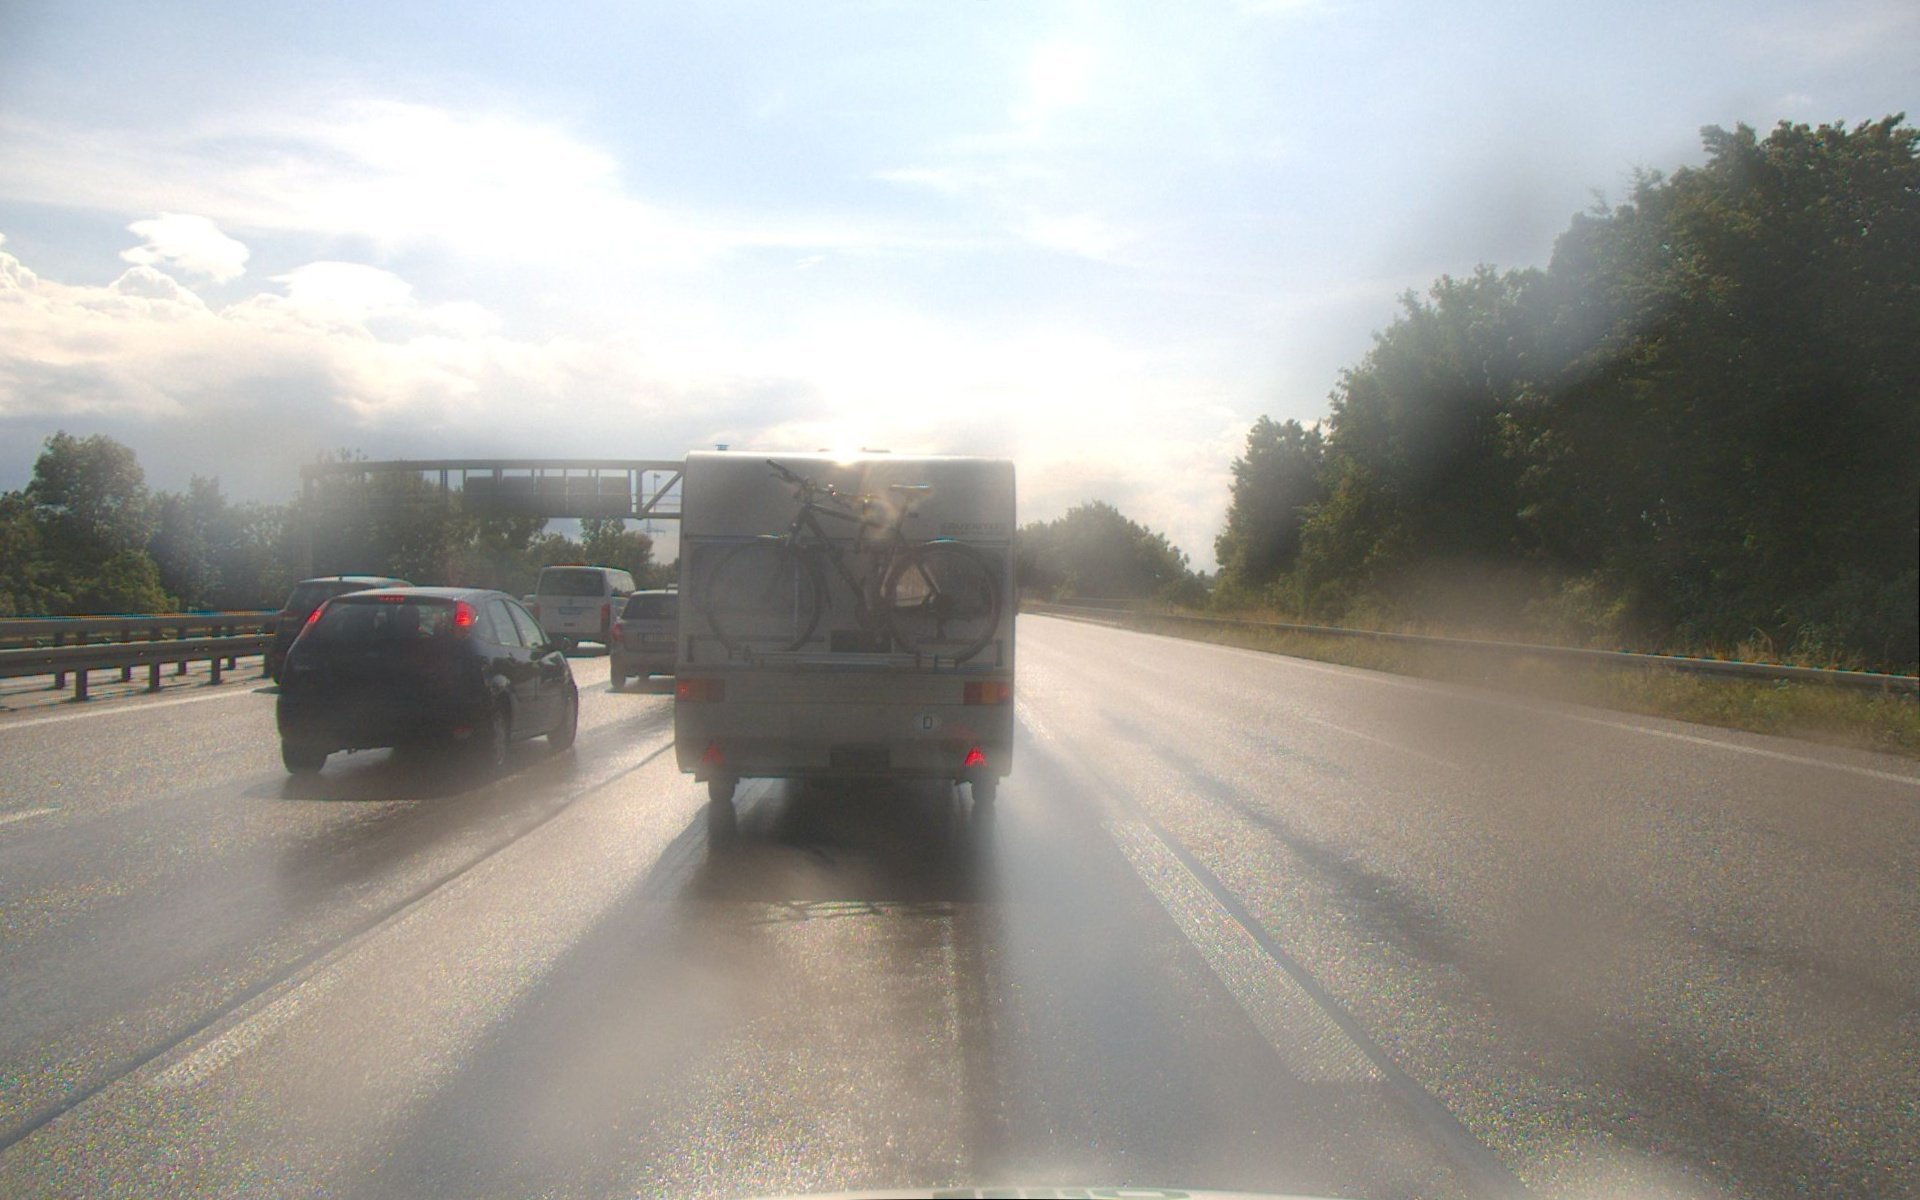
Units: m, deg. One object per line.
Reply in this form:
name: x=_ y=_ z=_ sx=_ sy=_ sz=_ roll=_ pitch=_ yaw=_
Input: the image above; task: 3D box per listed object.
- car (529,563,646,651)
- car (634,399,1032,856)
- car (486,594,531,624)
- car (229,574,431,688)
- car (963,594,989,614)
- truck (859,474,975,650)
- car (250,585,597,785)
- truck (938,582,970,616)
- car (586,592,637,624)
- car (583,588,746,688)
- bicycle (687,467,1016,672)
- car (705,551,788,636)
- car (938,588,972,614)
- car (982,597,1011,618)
car: x=-8.840 y=0.142 z=39.675 sx=1.810 sy=1.967 sz=5.014 roll=1 pitch=0 yaw=-2
car: x=-0.780 y=0.168 z=11.991 sx=2.361 sy=2.721 sz=3.999 roll=1 pitch=0 yaw=-1
car: x=-25.873 y=0.508 z=94.886 sx=1.698 sy=1.679 sz=3.809 roll=1 pitch=0 yaw=-3
car: x=-9.581 y=0.436 z=25.476 sx=1.747 sy=1.606 sz=3.914 roll=1 pitch=0 yaw=-3
car: x=1.328 y=0.314 z=141.370 sx=1.840 sy=1.657 sz=3.996 roll=1 pitch=0 yaw=-5
truck: x=-1.354 y=-1.031 z=49.902 sx=3.083 sy=4.707 sz=10.731 roll=0 pitch=0 yaw=-2
car: x=-4.439 y=0.623 z=14.331 sx=1.723 sy=1.468 sz=4.000 roll=1 pitch=0 yaw=-1
truck: x=-0.486 y=-0.123 z=125.373 sx=2.366 sy=2.486 sz=6.052 roll=1 pitch=0 yaw=-1
car: x=-16.740 y=0.364 z=79.620 sx=1.808 sy=1.477 sz=3.631 roll=1 pitch=0 yaw=-3
car: x=-4.654 y=0.555 z=26.583 sx=1.947 sy=1.483 sz=3.826 roll=1 pitch=0 yaw=-1
bicycle: x=-0.627 y=-0.175 z=9.793 sx=1.894 sy=1.161 sz=0.384 roll=1 pitch=0 yaw=0
car: x=-5.421 y=-0.163 z=42.424 sx=1.839 sy=2.049 sz=3.997 roll=1 pitch=0 yaw=-4
car: x=-0.353 y=0.060 z=105.713 sx=1.800 sy=1.585 sz=3.996 roll=1 pitch=0 yaw=-5
car: x=2.691 y=0.519 z=123.345 sx=1.839 sy=1.521 sz=3.997 roll=1 pitch=0 yaw=-3
